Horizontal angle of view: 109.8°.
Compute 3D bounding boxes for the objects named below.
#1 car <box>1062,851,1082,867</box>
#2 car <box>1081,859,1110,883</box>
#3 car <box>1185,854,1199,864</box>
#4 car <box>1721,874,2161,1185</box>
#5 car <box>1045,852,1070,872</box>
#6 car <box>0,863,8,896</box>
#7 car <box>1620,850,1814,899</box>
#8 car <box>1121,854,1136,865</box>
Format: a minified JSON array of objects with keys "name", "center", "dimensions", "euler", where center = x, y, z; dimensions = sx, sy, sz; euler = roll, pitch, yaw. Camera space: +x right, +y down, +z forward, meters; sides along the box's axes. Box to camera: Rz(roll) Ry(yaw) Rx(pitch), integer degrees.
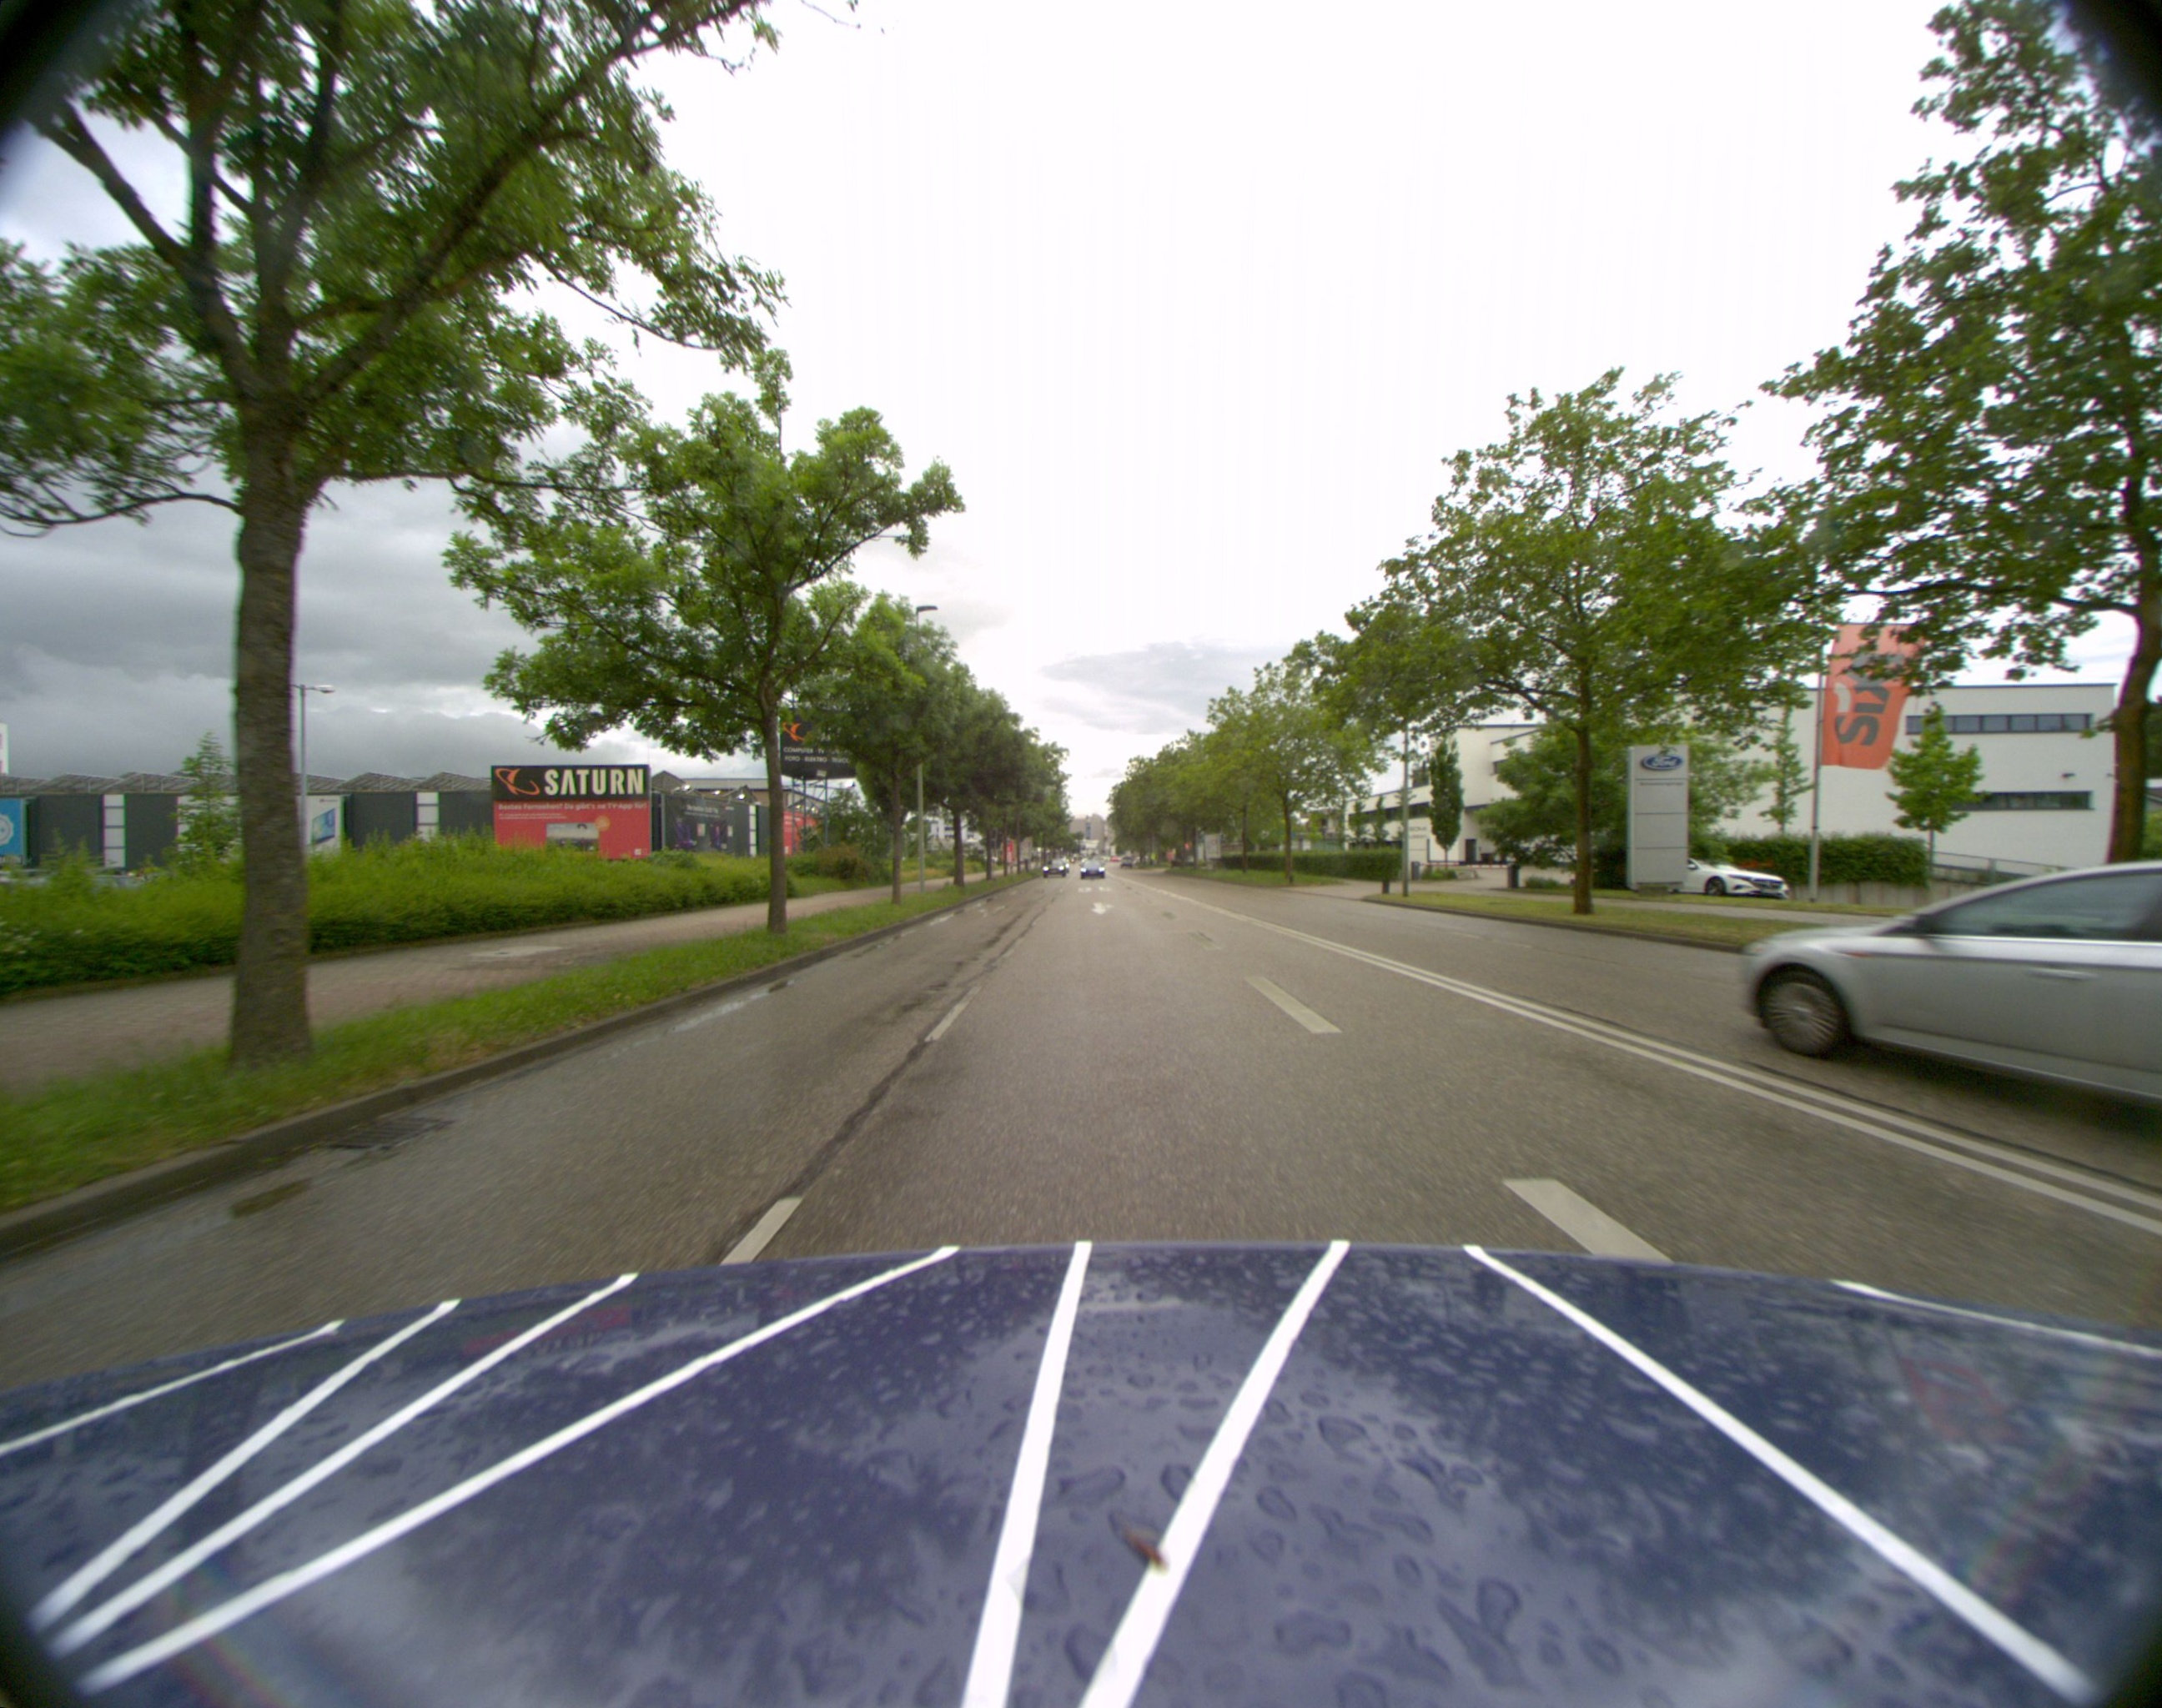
[{"name":"car","center":[-0.960,0.505,83.340],"dimensions":[1.998,1.632,4.360],"euler":[-2,1,1]},{"name":"car","center":[1.090,1.250,57.836],"dimensions":[1.998,1.632,4.360],"euler":[-2,1,1]},{"name":"car","center":[18.530,0.783,127.057],"dimensions":[1.746,1.524,4.000],"euler":[1,0,1]},{"name":"car","center":[6.139,0.870,3.710],"dimensions":[1.999,1.421,4.684],"euler":[0,0,-1]},{"name":"car","center":[-2.019,0.683,67.172],"dimensions":[1.998,1.632,4.360],"euler":[-2,1,1]},{"name":"car","center":[-52.442,1.231,34.270],"dimensions":[1.909,1.565,4.363],"euler":[-1,0,-2]},{"name":"car","center":[21.083,0.626,25.590],"dimensions":[2.123,1.487,5.246],"euler":[0,0,-1]},{"name":"car","center":[7.771,0.918,124.835],"dimensions":[1.916,1.795,5.340],"euler":[1,0,-1]}]
